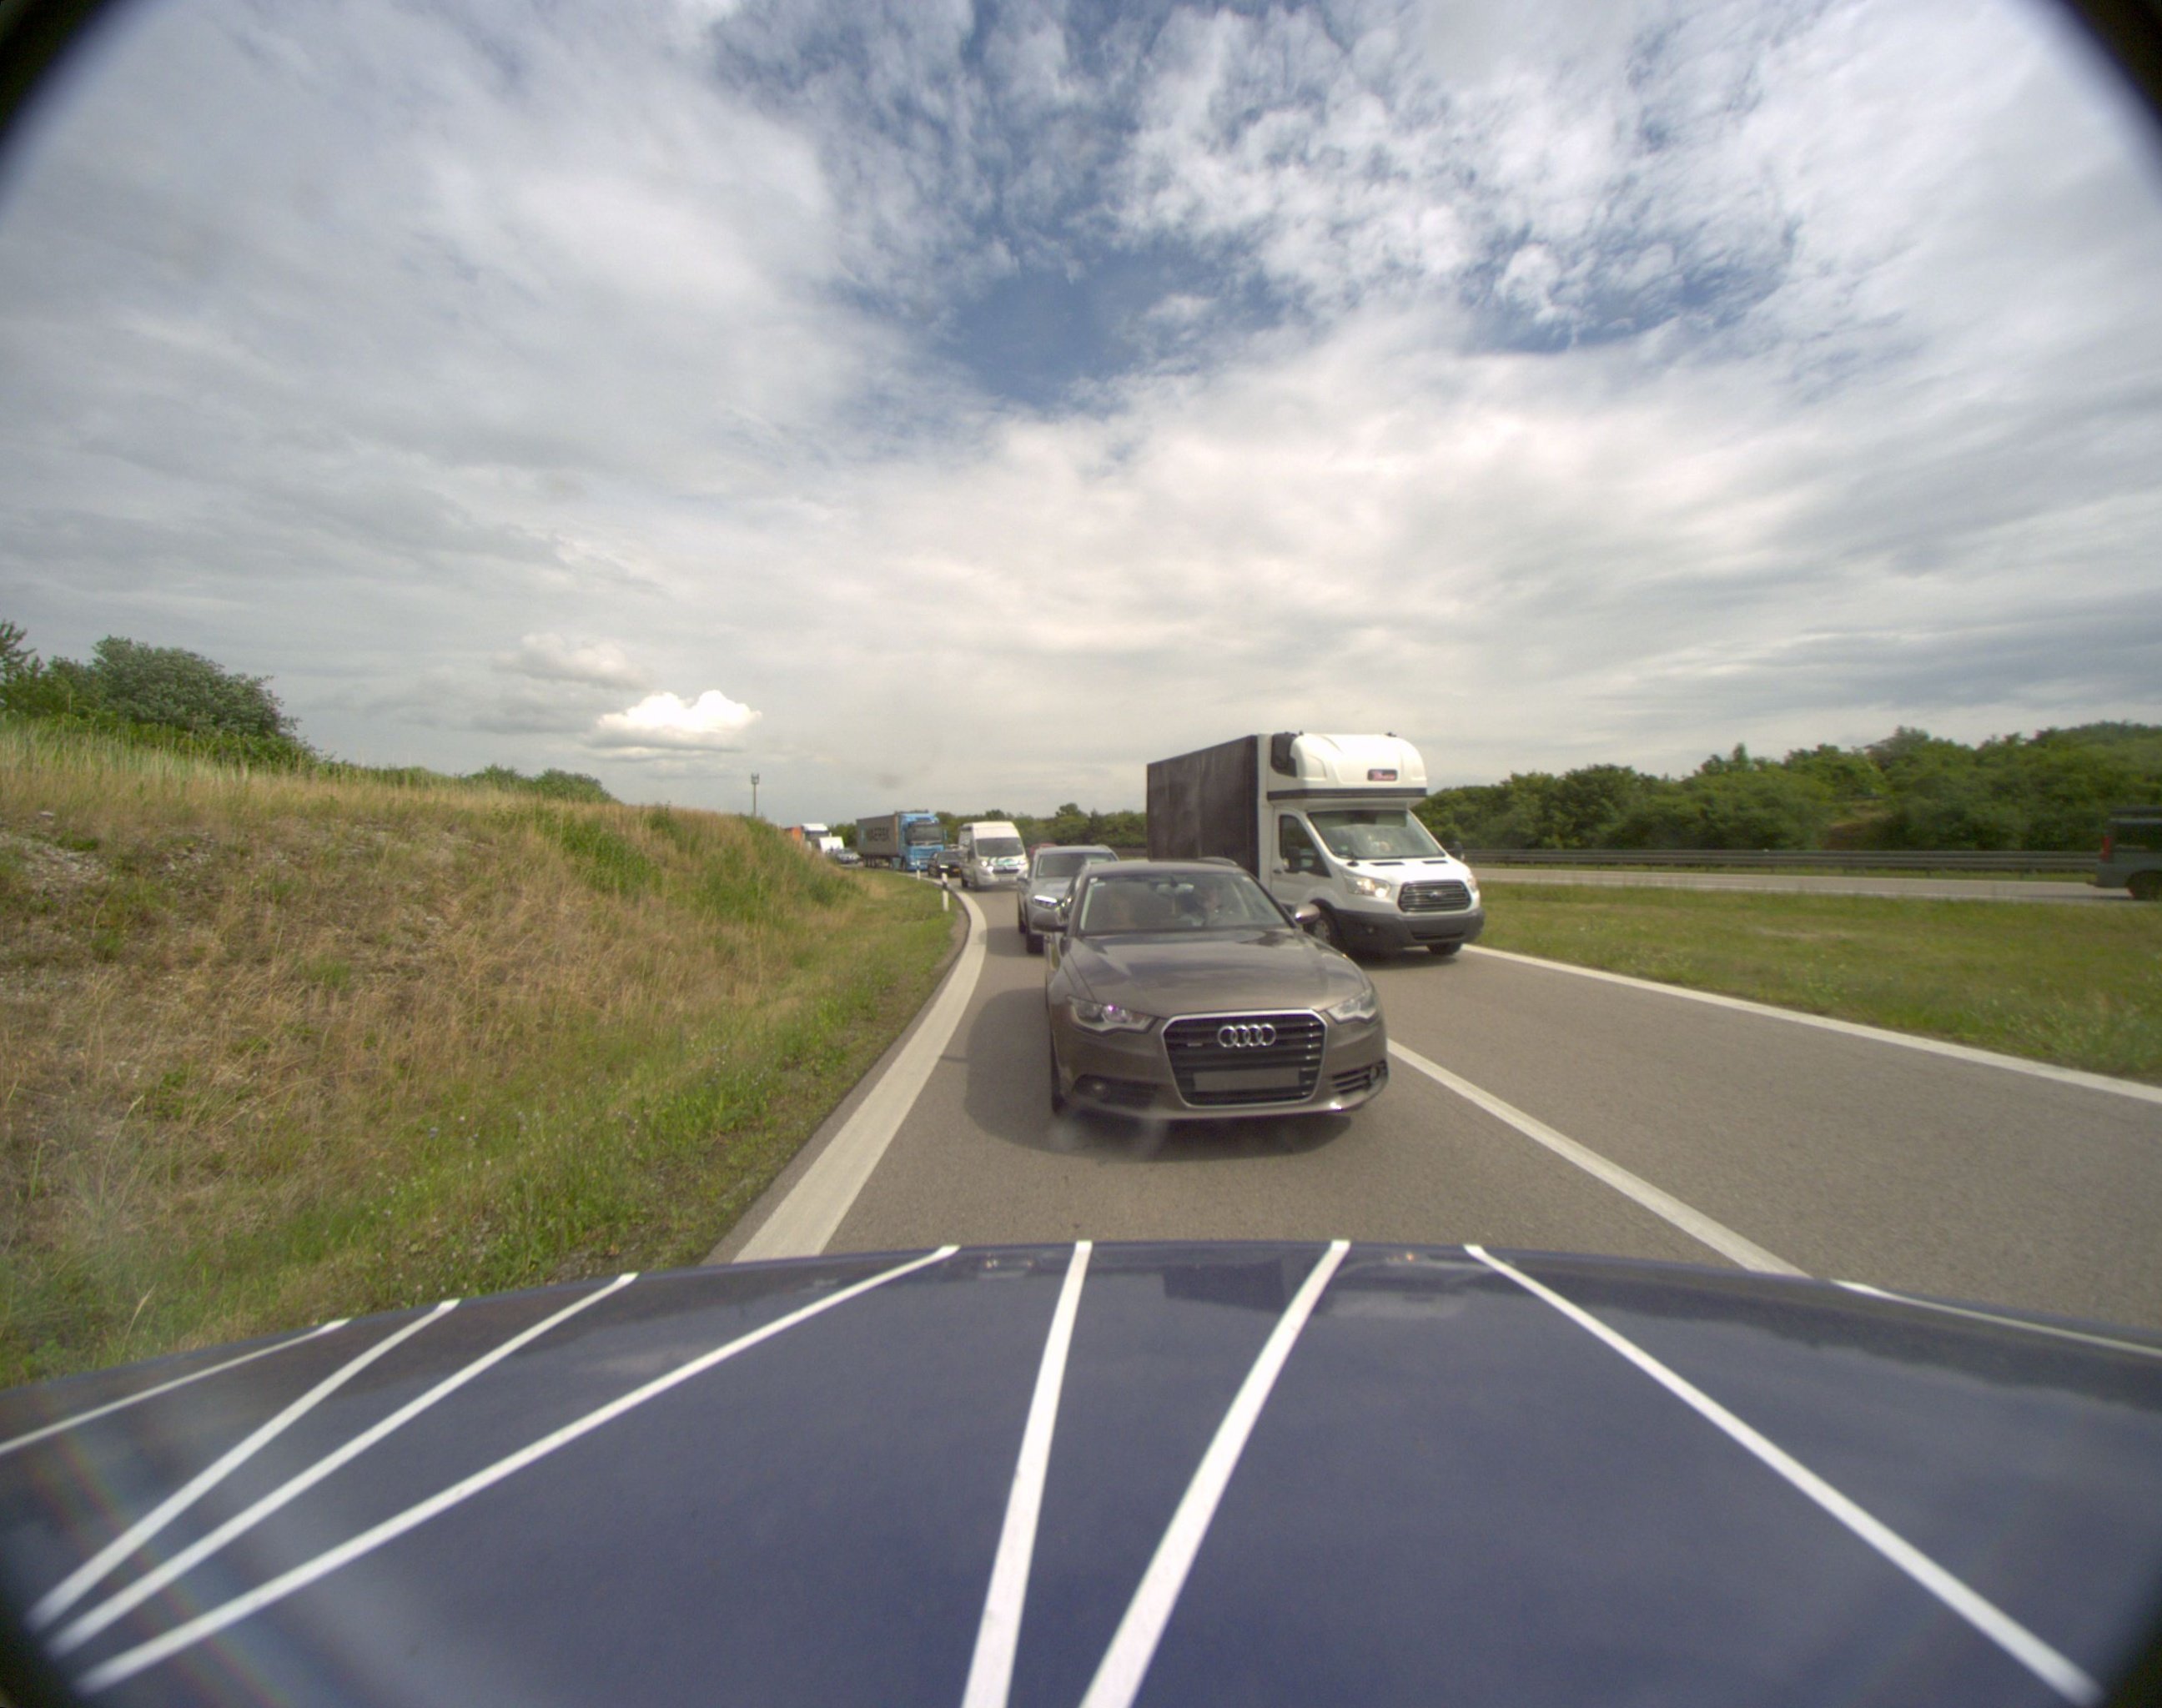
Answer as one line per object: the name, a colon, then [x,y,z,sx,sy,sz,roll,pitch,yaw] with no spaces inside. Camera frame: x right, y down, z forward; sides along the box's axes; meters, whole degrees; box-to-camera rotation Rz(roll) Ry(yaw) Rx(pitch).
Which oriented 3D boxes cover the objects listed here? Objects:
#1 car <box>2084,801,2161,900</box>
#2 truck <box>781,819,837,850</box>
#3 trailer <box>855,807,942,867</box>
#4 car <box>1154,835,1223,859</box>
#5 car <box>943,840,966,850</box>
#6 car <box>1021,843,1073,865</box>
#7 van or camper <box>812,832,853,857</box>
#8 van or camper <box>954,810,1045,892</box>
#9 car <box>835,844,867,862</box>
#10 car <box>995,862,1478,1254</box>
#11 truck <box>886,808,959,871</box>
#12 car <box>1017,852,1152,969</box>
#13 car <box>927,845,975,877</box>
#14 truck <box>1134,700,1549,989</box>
car: [26.318,-0.087,16.839,2.003,2.246,4.795,-2,2,-34]
truck: [-30.565,-2.076,84.922,3.131,3.220,11.131,-2,1,-34]
trailer: [-14.401,-1.188,58.953,3.280,4.137,11.989,-3,1,-29]
car: [7.434,-0.501,52.918,2.003,1.590,4.715,-2,2,-35]
car: [-18.610,-1.330,111.705,1.816,1.478,3.989,-2,2,-35]
car: [-2.721,-0.001,60.067,2.003,1.593,4.796,-2,2,-32]
van or camper: [-24.567,-0.976,75.035,2.557,2.200,5.693,-3,5,-31]
van or camper: [-3.416,-0.115,30.486,2.401,2.892,5.711,-3,1,-18]
car: [-21.208,-0.164,69.997,2.003,1.521,3.990,-2,2,-29]
car: [0.642,0.884,5.470,1.999,1.505,4.537,-2,1,-1]
truck: [-11.132,-0.958,52.851,3.184,4.049,6.632,-3,1,-27]
car: [-0.109,0.787,12.881,1.843,1.587,4.171,-1,1,-6]
car: [-7.276,0.338,42.390,2.002,1.609,3.992,-1,1,-19]
truck: [3.287,-0.153,12.202,2.570,3.149,7.458,-2,1,-14]
